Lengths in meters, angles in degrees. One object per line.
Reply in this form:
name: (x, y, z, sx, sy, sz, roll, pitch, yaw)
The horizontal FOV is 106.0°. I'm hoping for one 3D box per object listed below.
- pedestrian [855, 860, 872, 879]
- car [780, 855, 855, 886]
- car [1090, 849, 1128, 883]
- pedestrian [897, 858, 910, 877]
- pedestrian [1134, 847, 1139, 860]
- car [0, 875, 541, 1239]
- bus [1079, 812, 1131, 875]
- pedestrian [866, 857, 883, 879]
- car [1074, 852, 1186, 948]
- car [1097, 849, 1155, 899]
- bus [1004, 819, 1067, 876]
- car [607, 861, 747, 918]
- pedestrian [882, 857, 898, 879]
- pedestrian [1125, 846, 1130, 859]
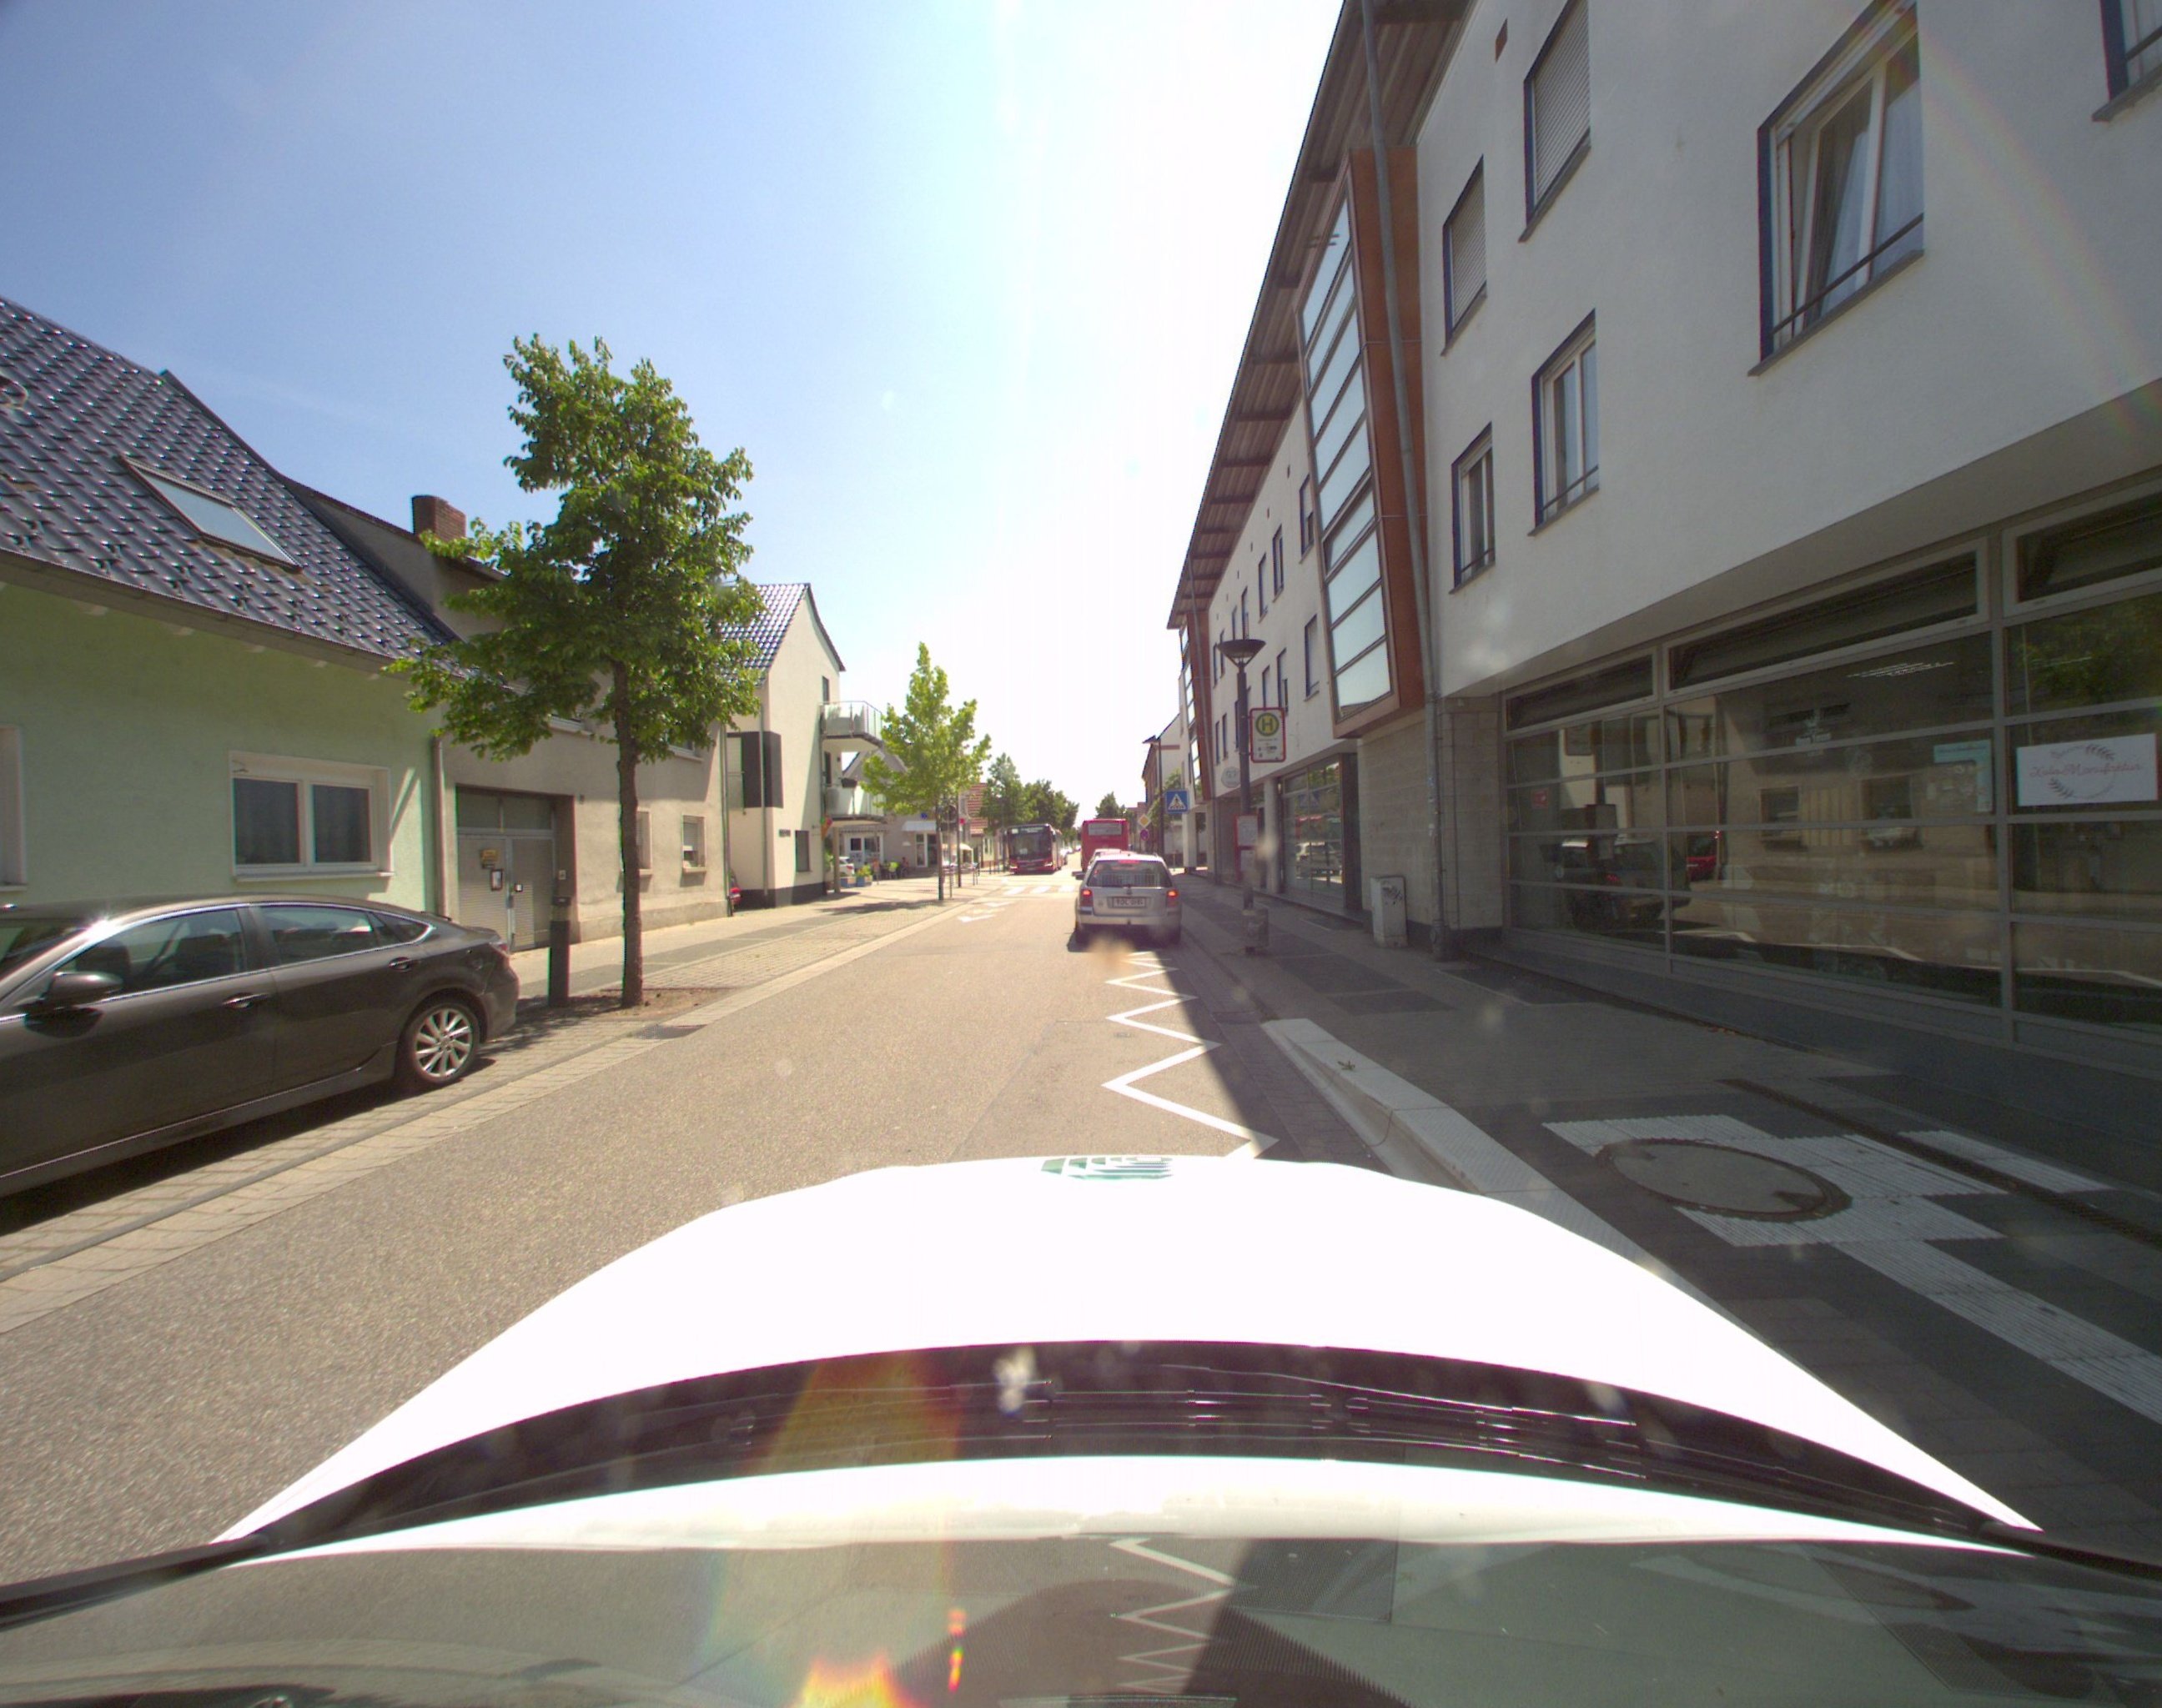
pedestrian: (-12.764, 0.912, 47.776, 0.639, 1.116, 0.780, 1, 0, -42)
car: (-14.973, 0.941, 46.414, 3.924, 1.545, 1.510, -2, 2, -16)
car: (1.260, 0.519, 36.303, 1.587, 1.430, 3.681, 0, 0, 2)
pedestrian: (-10.815, 0.816, 49.679, 0.620, 1.179, 0.696, -2, 0, -3)
pedestrian: (7.268, -0.106, 106.261, 0.604, 1.667, 0.789, -2, 0, -1)
car: (-5.354, 0.922, 4.419, 1.654, 1.437, 4.541, -2, 0, 2)
bus: (1.255, -0.551, 49.450, 2.731, 3.298, 12.702, -1, 0, 0)
pedestrian: (-12.375, 0.843, 48.785, 0.639, 1.289, 0.780, 1, 0, -42)
car: (0.784, 0.690, 14.201, 1.671, 1.430, 3.680, 1, 0, 1)
car: (1.346, 0.578, 25.555, 1.671, 1.430, 3.680, -1, 0, 1)
bus: (-2.714, -0.405, 55.254, 2.659, 3.123, 17.813, -2, 0, 2)
car: (-11.326, 0.968, 22.989, 3.108, 1.443, 1.585, -2, 0, -5)
pedestrian: (-11.405, 0.807, 48.637, 0.639, 1.289, 0.780, 1, 0, -42)
pedestrian: (6.172, -0.188, 107.486, 0.604, 1.667, 0.789, -2, 0, -1)
